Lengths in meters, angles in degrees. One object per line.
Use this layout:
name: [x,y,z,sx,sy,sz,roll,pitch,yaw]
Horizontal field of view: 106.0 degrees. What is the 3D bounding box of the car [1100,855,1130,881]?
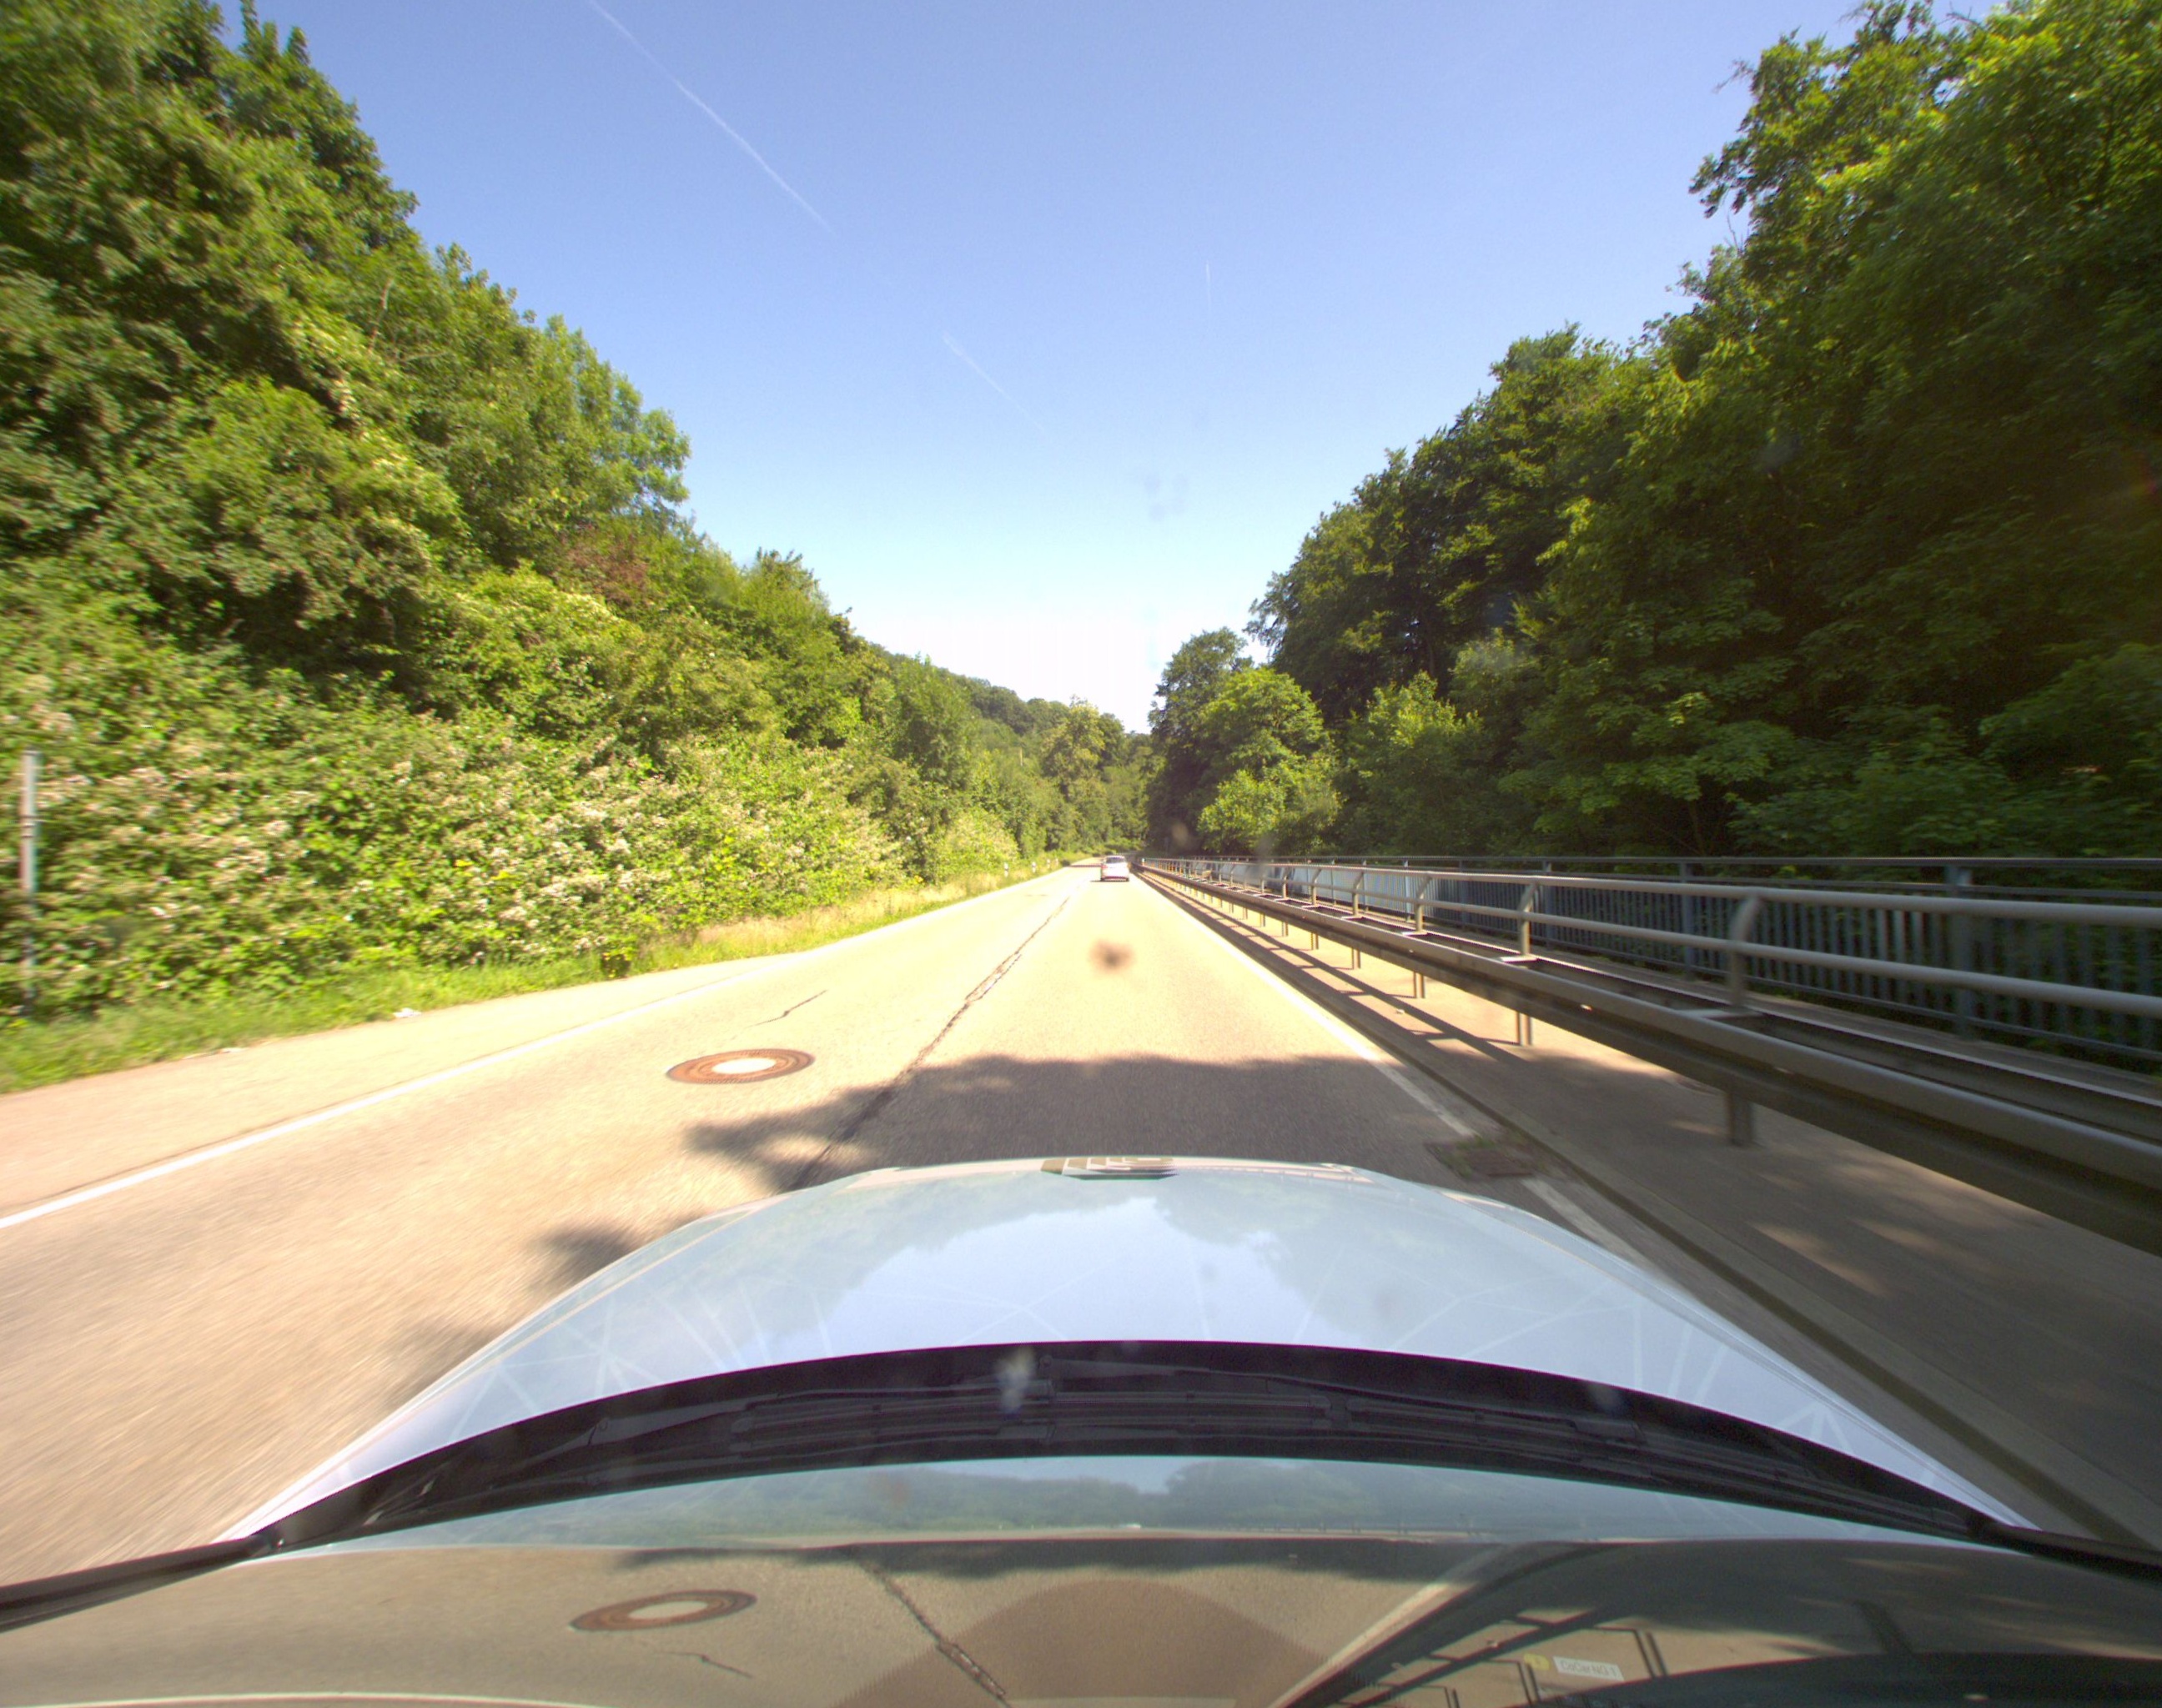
car: [2.032,0.844,49.580,1.744,1.520,4.160,0,0,2]
